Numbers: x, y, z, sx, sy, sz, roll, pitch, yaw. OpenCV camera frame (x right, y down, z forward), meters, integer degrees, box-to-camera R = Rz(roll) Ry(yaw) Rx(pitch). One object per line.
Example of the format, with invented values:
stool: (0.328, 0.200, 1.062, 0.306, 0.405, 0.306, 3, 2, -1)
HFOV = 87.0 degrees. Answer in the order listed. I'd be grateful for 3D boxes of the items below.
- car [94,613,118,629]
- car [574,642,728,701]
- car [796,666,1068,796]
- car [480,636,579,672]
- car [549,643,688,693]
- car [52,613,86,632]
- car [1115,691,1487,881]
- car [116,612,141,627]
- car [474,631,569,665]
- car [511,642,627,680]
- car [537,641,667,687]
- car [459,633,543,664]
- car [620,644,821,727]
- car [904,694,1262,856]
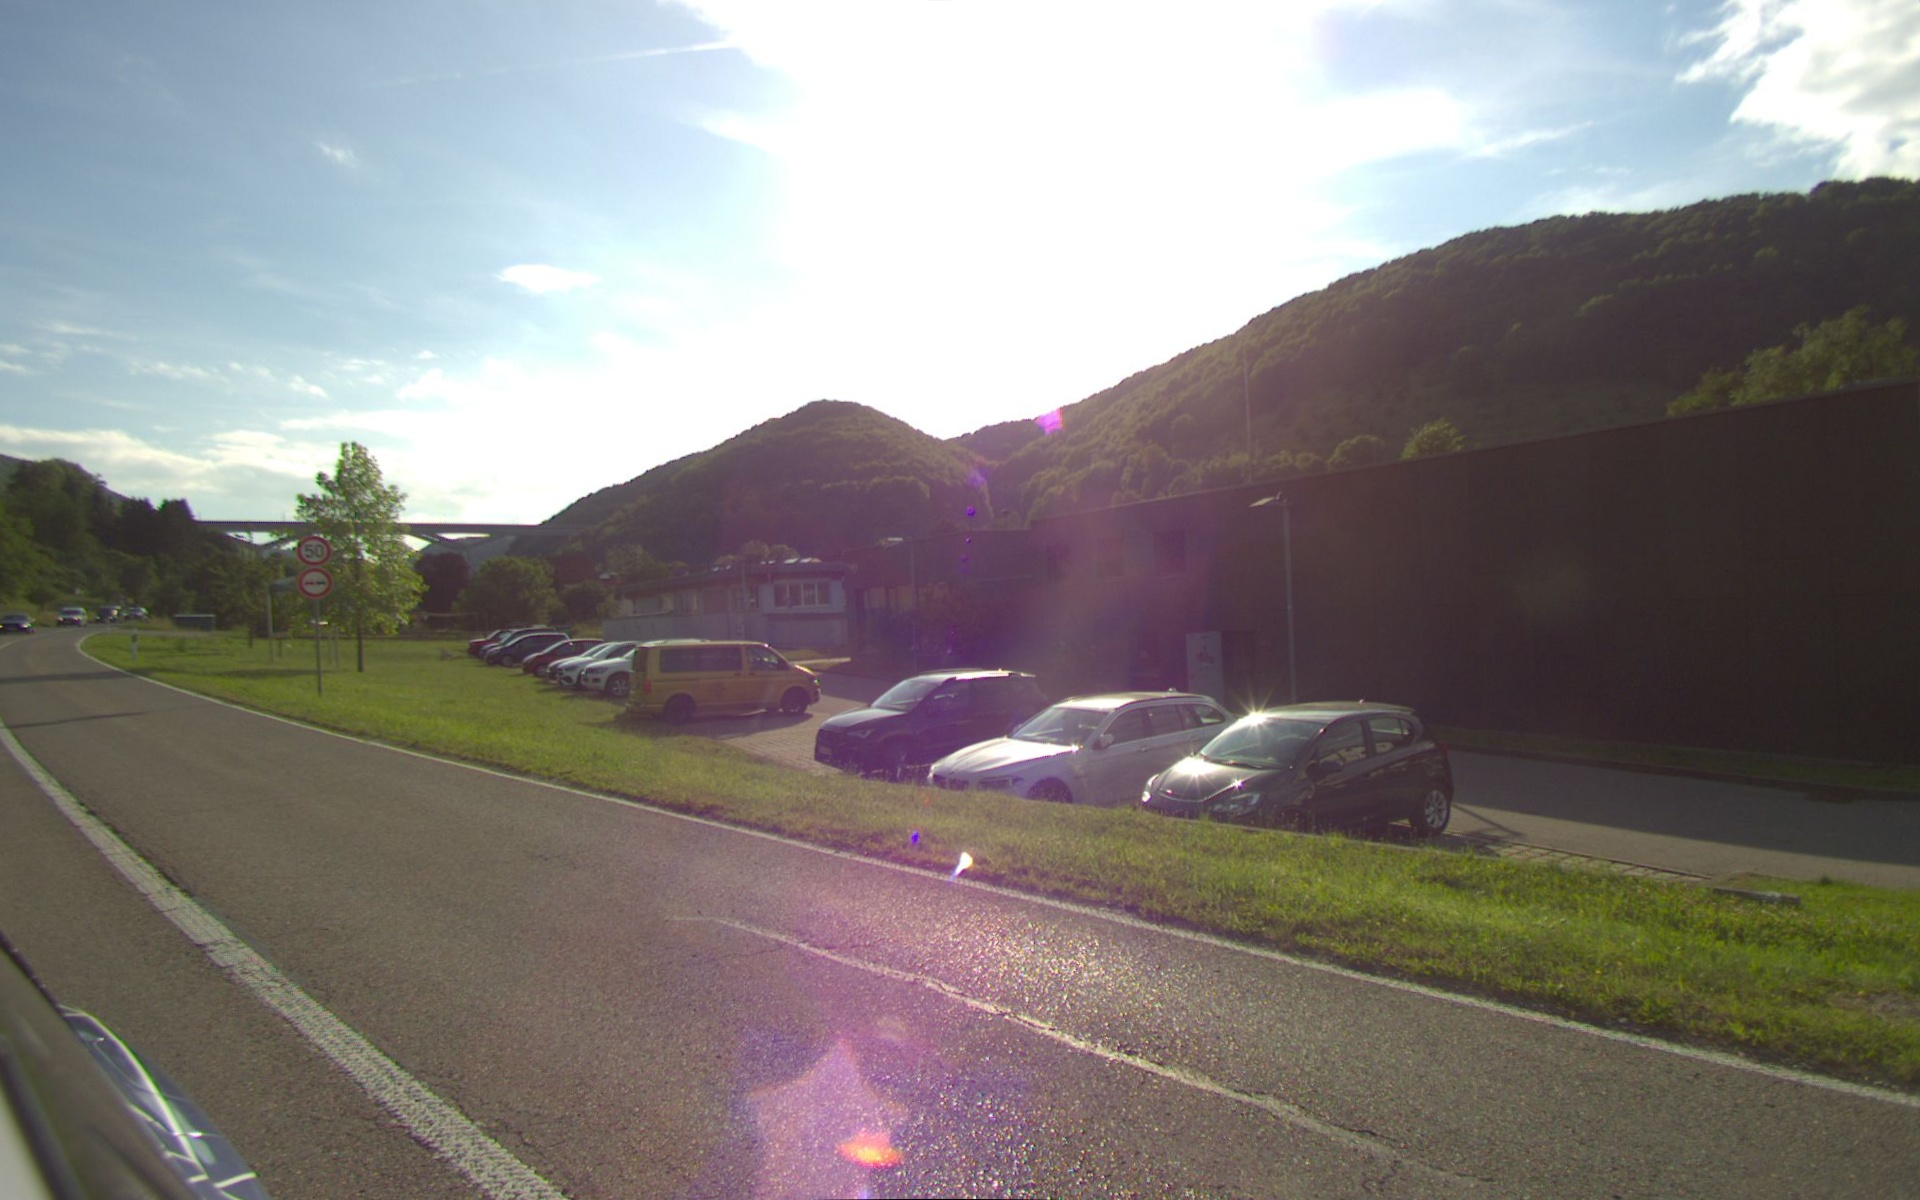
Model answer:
car: (-96.448, 2.374, 114.301, 1.652, 1.659, 3.355, -1, -1, -33)
car: (-10.077, 2.274, 33.023, 4.477, 1.714, 2.006, 0, -2, -30)
car: (-0.421, 2.098, 17.207, 4.226, 1.650, 1.917, -2, -1, -35)
car: (-21.950, 2.716, 51.638, 4.371, 1.595, 2.006, -1, -1, -31)
car: (-12.098, 2.372, 35.895, 4.370, 1.599, 2.006, 0, -2, -30)
car: (-84.607, 2.162, 96.156, 1.769, 1.749, 4.295, -1, -1, -32)
car: (3.874, 1.923, 11.385, 3.932, 1.546, 1.839, 0, -2, -31)
car: (-105.114, 2.448, 128.010, 1.966, 1.730, 4.011, -1, -1, -33)
car: (-24.195, 2.598, 55.911, 4.595, 1.776, 2.006, 0, -2, -31)
car: (-16.601, 2.547, 43.013, 4.370, 1.463, 2.006, 0, -2, -30)
car: (-13.724, 2.424, 38.863, 4.371, 1.595, 2.006, 0, -2, -32)
car: (-27.300, 2.840, 60.246, 4.371, 1.733, 2.006, 0, -2, -31)
car: (-6.036, 2.083, 25.614, 4.583, 1.827, 2.006, 0, -2, -30)
car: (1.720, 2.153, 13.411, 4.577, 1.508, 1.918, 1, -2, -34)
